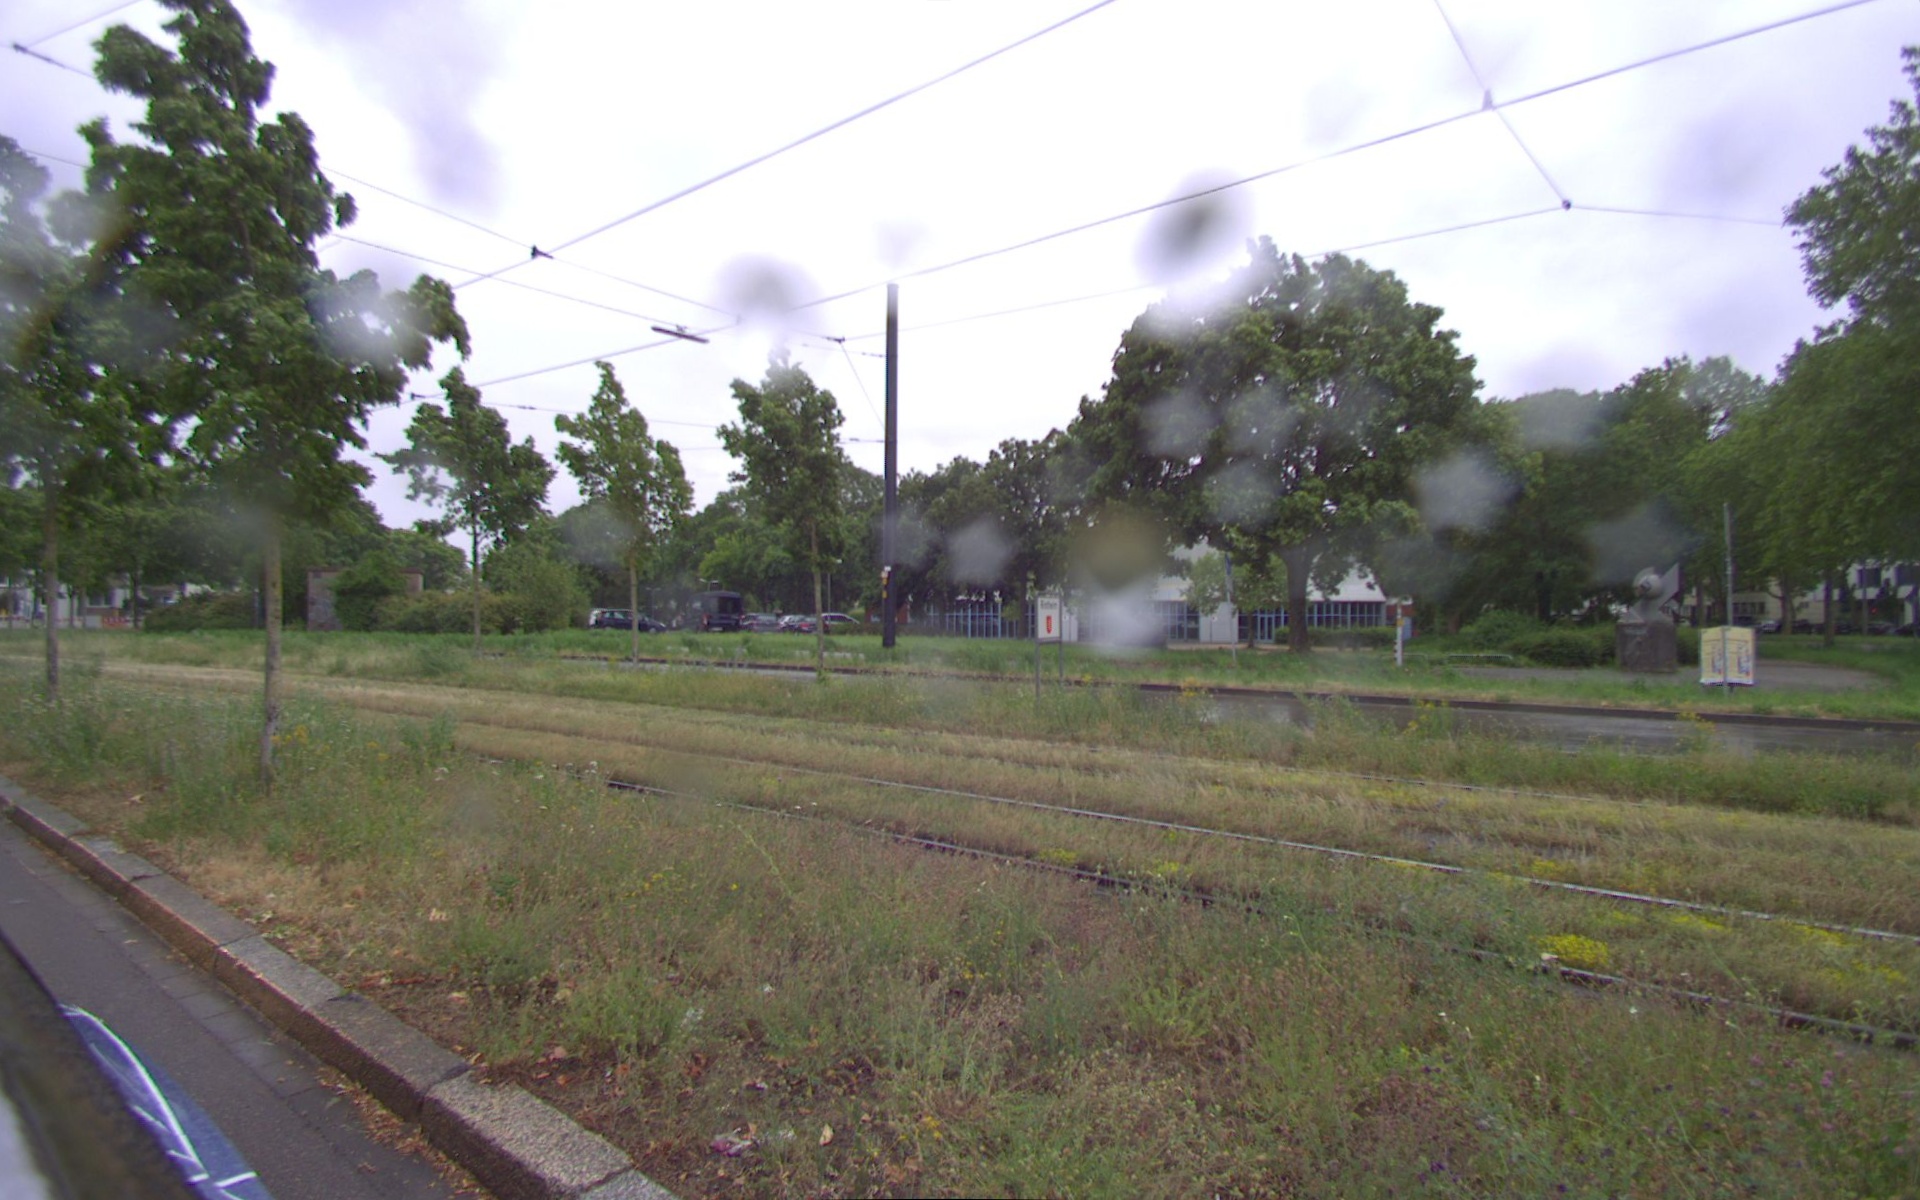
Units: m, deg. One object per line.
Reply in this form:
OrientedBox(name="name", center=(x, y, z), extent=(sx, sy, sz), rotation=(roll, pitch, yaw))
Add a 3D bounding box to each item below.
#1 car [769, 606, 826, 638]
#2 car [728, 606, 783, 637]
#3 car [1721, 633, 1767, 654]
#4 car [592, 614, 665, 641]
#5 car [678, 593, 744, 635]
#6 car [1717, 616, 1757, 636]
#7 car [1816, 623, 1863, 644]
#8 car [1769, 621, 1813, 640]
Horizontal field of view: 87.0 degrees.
OrientedBox(name="car", center=(-8.792, 1.153, 54.344), extent=(2.026, 1.584, 5.032), rotation=(-1, 0, -21))
OrientedBox(name="car", center=(-10.902, 1.125, 53.707), extent=(1.726, 1.542, 4.865), rotation=(-1, 0, -25))
OrientedBox(name="car", center=(55.092, 3.099, 71.162), extent=(1.797, 1.417, 4.416), rotation=(-1, -3, 28))
OrientedBox(name="car", center=(-20.282, 1.648, 61.880), extent=(4.110, 1.494, 1.789), rotation=(-1, 0, -23))
OrientedBox(name="car", center=(-12.819, 0.705, 51.934), extent=(2.273, 2.029, 5.134), rotation=(-1, 0, -25))
OrientedBox(name="car", center=(86.361, 2.827, 112.519), extent=(2.108, 2.104, 3.982), rotation=(-1, 0, 14))
OrientedBox(name="car", center=(81.673, 3.097, 94.051), extent=(1.986, 1.796, 3.972), rotation=(-1, 0, 21))
OrientedBox(name="car", center=(82.993, 3.019, 101.149), extent=(1.982, 1.796, 3.979), rotation=(-1, 0, 16))
